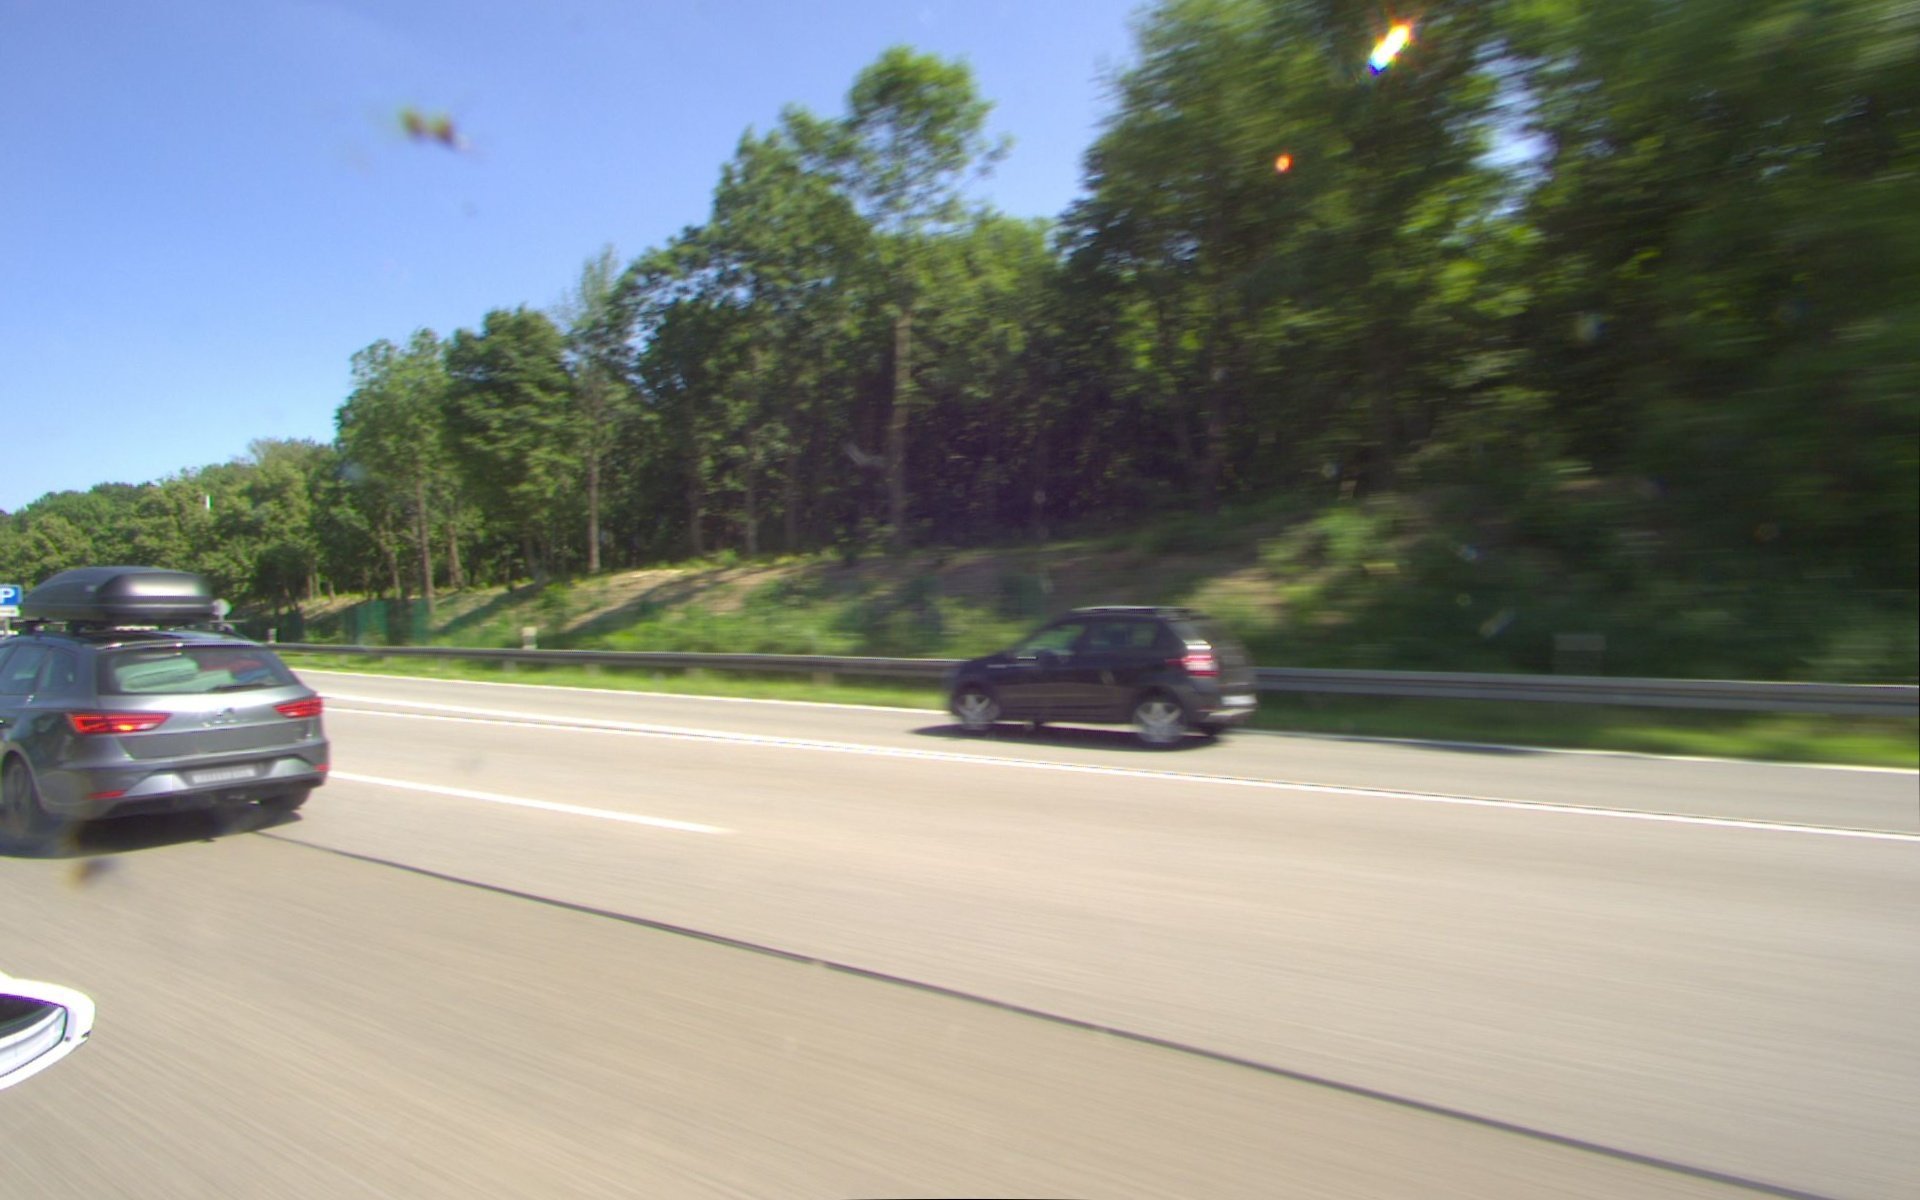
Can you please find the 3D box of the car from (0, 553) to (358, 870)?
[{"bbox_3d":[-6.917,0.681,7.966,4.758,1.901,1.661,-1,1,32],"label":"car"}]

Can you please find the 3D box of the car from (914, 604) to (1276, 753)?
[{"bbox_3d":[1.614,0.886,12.609,4.201,1.588,1.760,-1,-1,35],"label":"car"}]

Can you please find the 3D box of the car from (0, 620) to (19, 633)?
[{"bbox_3d":[-116.536,3.243,122.288,3.954,1.594,1.984,-1,0,41],"label":"car"}]

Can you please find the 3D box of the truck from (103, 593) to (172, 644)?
[{"bbox_3d":[-68.610,1.507,83.430,9.249,3.999,3.267,-1,0,43],"label":"truck"}]

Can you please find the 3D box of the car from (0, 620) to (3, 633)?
[{"bbox_3d":[-121.927,3.332,125.713,4.587,1.697,1.652,-1,-1,33],"label":"car"}]

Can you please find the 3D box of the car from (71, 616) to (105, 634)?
[{"bbox_3d":[-86.379,2.452,99.210,4.268,1.673,1.984,-1,0,41],"label":"car"}]

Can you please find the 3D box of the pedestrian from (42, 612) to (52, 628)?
[{"bbox_3d":[-105.868,2.300,116.089,0.636,1.806,0.793,0,1,45],"label":"pedestrian"}]
